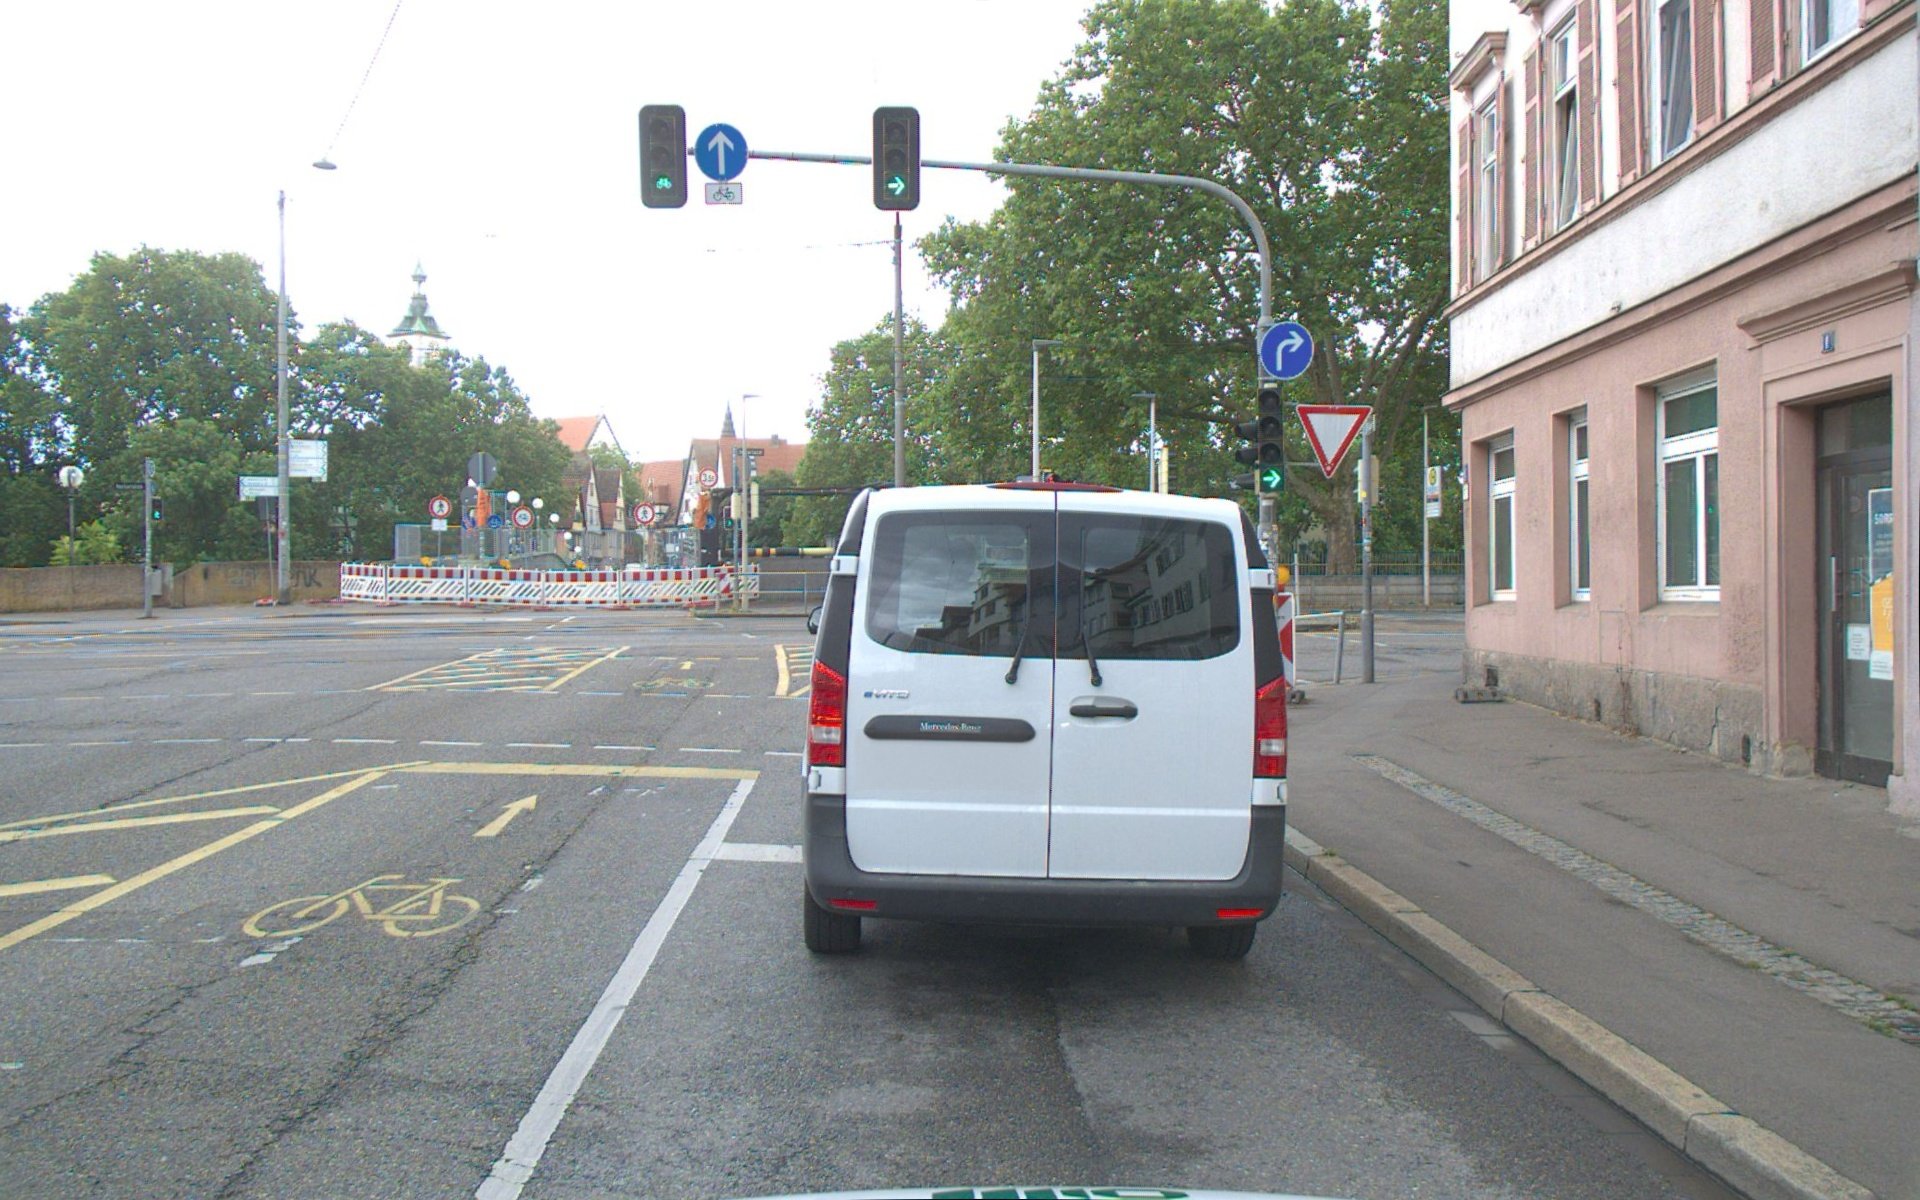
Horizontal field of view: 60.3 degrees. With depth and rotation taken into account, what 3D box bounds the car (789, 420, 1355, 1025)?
[{"bbox_3d":[0.352,0.360,8.022,1.911,2.048,4.698,1,2,-1],"label":"car"}]
